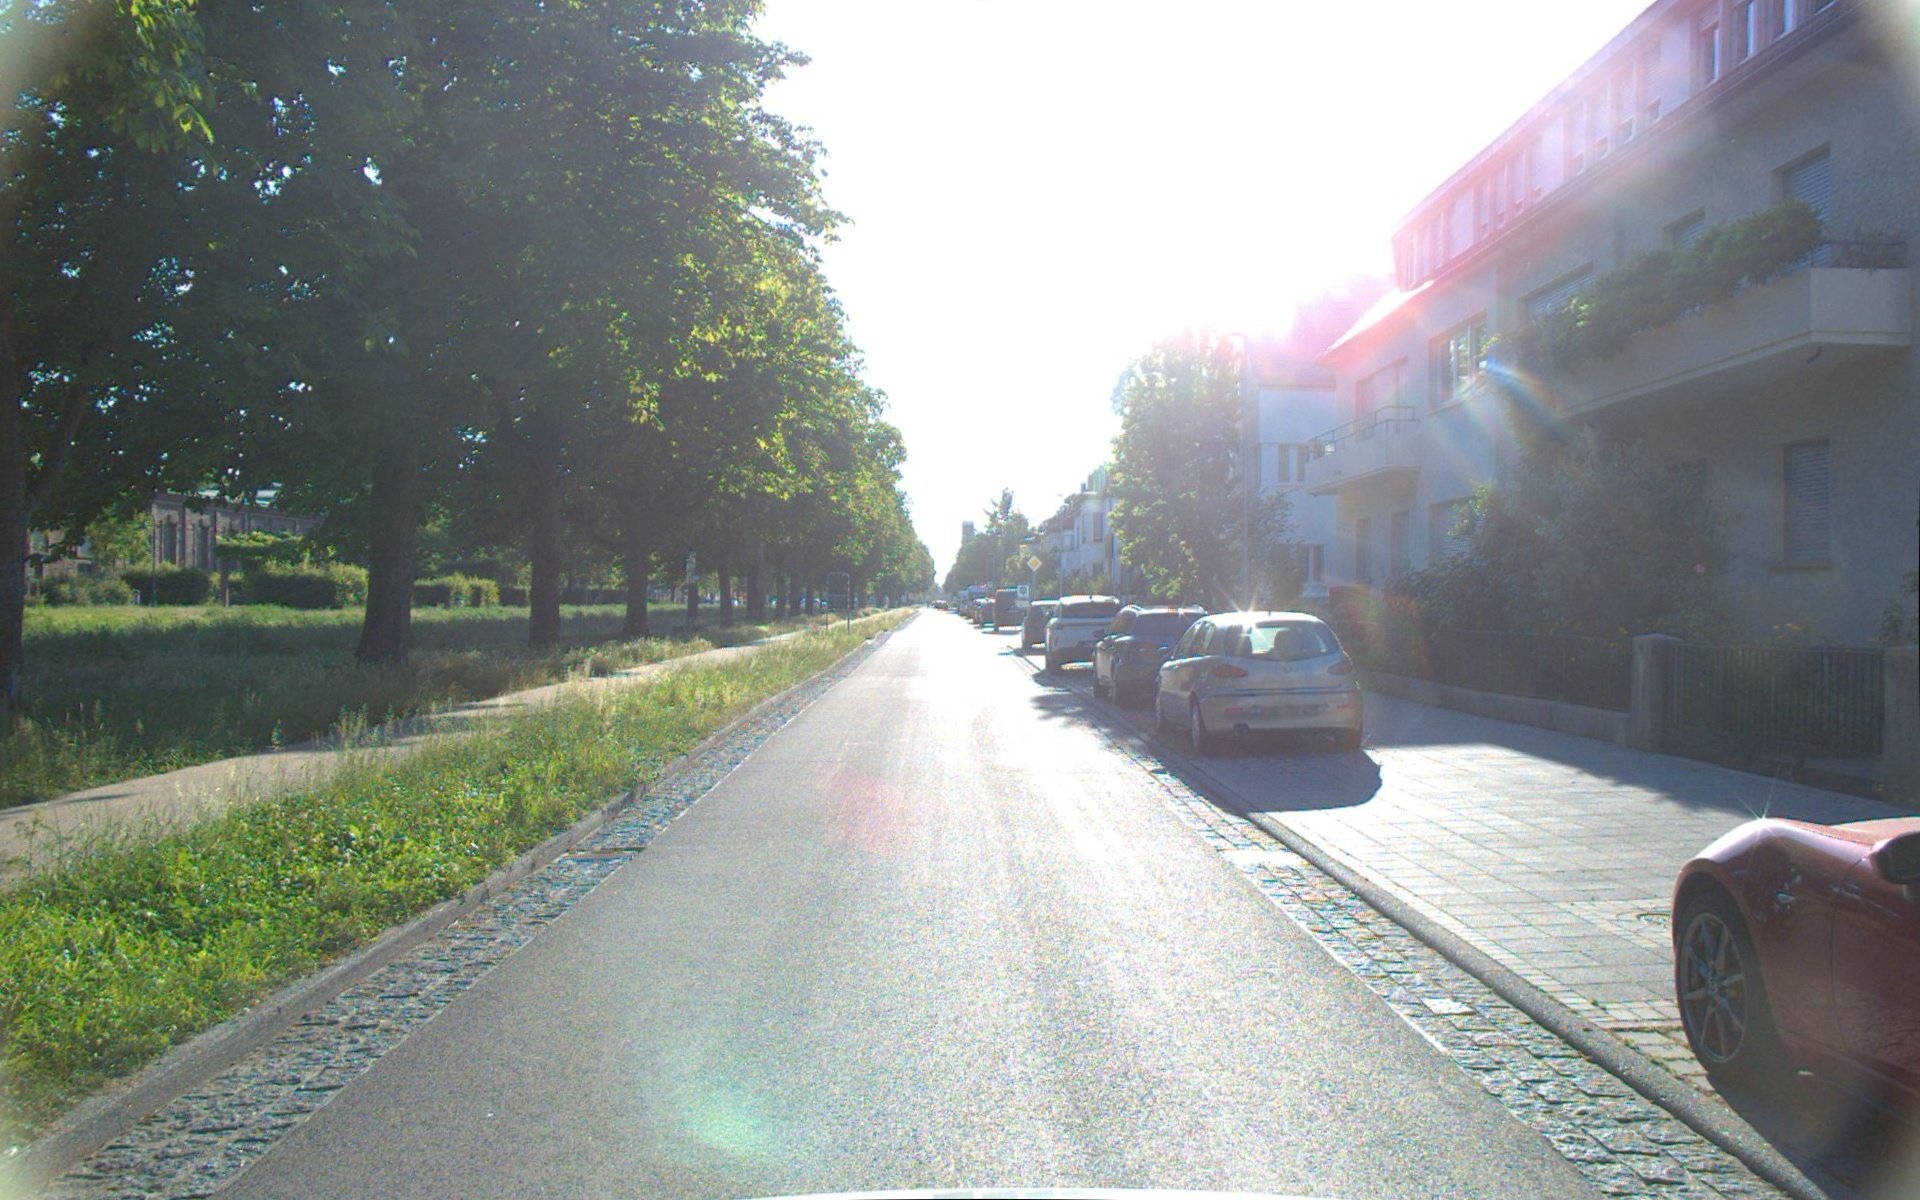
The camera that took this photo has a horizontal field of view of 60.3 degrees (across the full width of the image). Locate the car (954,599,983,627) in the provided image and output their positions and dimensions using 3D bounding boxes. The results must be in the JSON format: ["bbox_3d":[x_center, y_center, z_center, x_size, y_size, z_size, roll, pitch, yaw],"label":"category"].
[{"bbox_3d":[0.567,0.841,110.263,1.795,1.714,4.414,2,0,-1],"label":"car"}]

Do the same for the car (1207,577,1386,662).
[{"bbox_3d":[8.276,0.458,40.836,3.906,1.877,1.813,2,1,-7],"label":"car"}]

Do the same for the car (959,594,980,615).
[{"bbox_3d":[0.806,0.386,137.128,1.630,1.621,4.085,2,0,0],"label":"car"}]

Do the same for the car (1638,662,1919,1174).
[{"bbox_3d":[3.321,0.845,4.080,1.664,1.279,3.879,0,-1,-1],"label":"car"}]

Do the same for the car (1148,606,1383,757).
[{"bbox_3d":[3.213,0.804,18.179,1.757,1.404,4.077,-1,0,-1],"label":"car"}]

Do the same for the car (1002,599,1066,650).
[{"bbox_3d":[2.291,0.734,52.161,1.757,1.508,4.122,-1,0,-1],"label":"car"}]

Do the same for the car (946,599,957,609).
[{"bbox_3d":[-1.375,0.631,261.577,1.616,1.557,3.851,5,0,0],"label":"car"}]

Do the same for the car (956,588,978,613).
[{"bbox_3d":[0.750,0.044,174.004,2.084,2.577,5.186,0,0,-3],"label":"car"}]

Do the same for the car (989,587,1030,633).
[{"bbox_3d":[2.418,0.484,81.903,1.867,2.169,4.814,-1,0,0],"label":"car"}]

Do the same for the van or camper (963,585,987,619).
[{"bbox_3d":[1.249,0.201,143.658,1.904,2.826,5.938,2,-1,0],"label":"van or camper"}]

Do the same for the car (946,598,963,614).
[{"bbox_3d":[-0.551,0.606,167.722,1.616,1.557,3.851,0,0,0],"label":"car"}]

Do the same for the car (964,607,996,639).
[{"bbox_3d":[1.147,1.362,98.351,1.757,1.802,4.471,-1,0,-1],"label":"car"}]

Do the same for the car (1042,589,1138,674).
[{"bbox_3d":[2.819,0.664,36.733,1.866,1.738,4.576,-1,0,2],"label":"car"}]

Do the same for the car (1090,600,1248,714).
[{"bbox_3d":[3.054,0.789,24.945,1.757,1.520,4.193,-1,0,-1],"label":"car"}]
